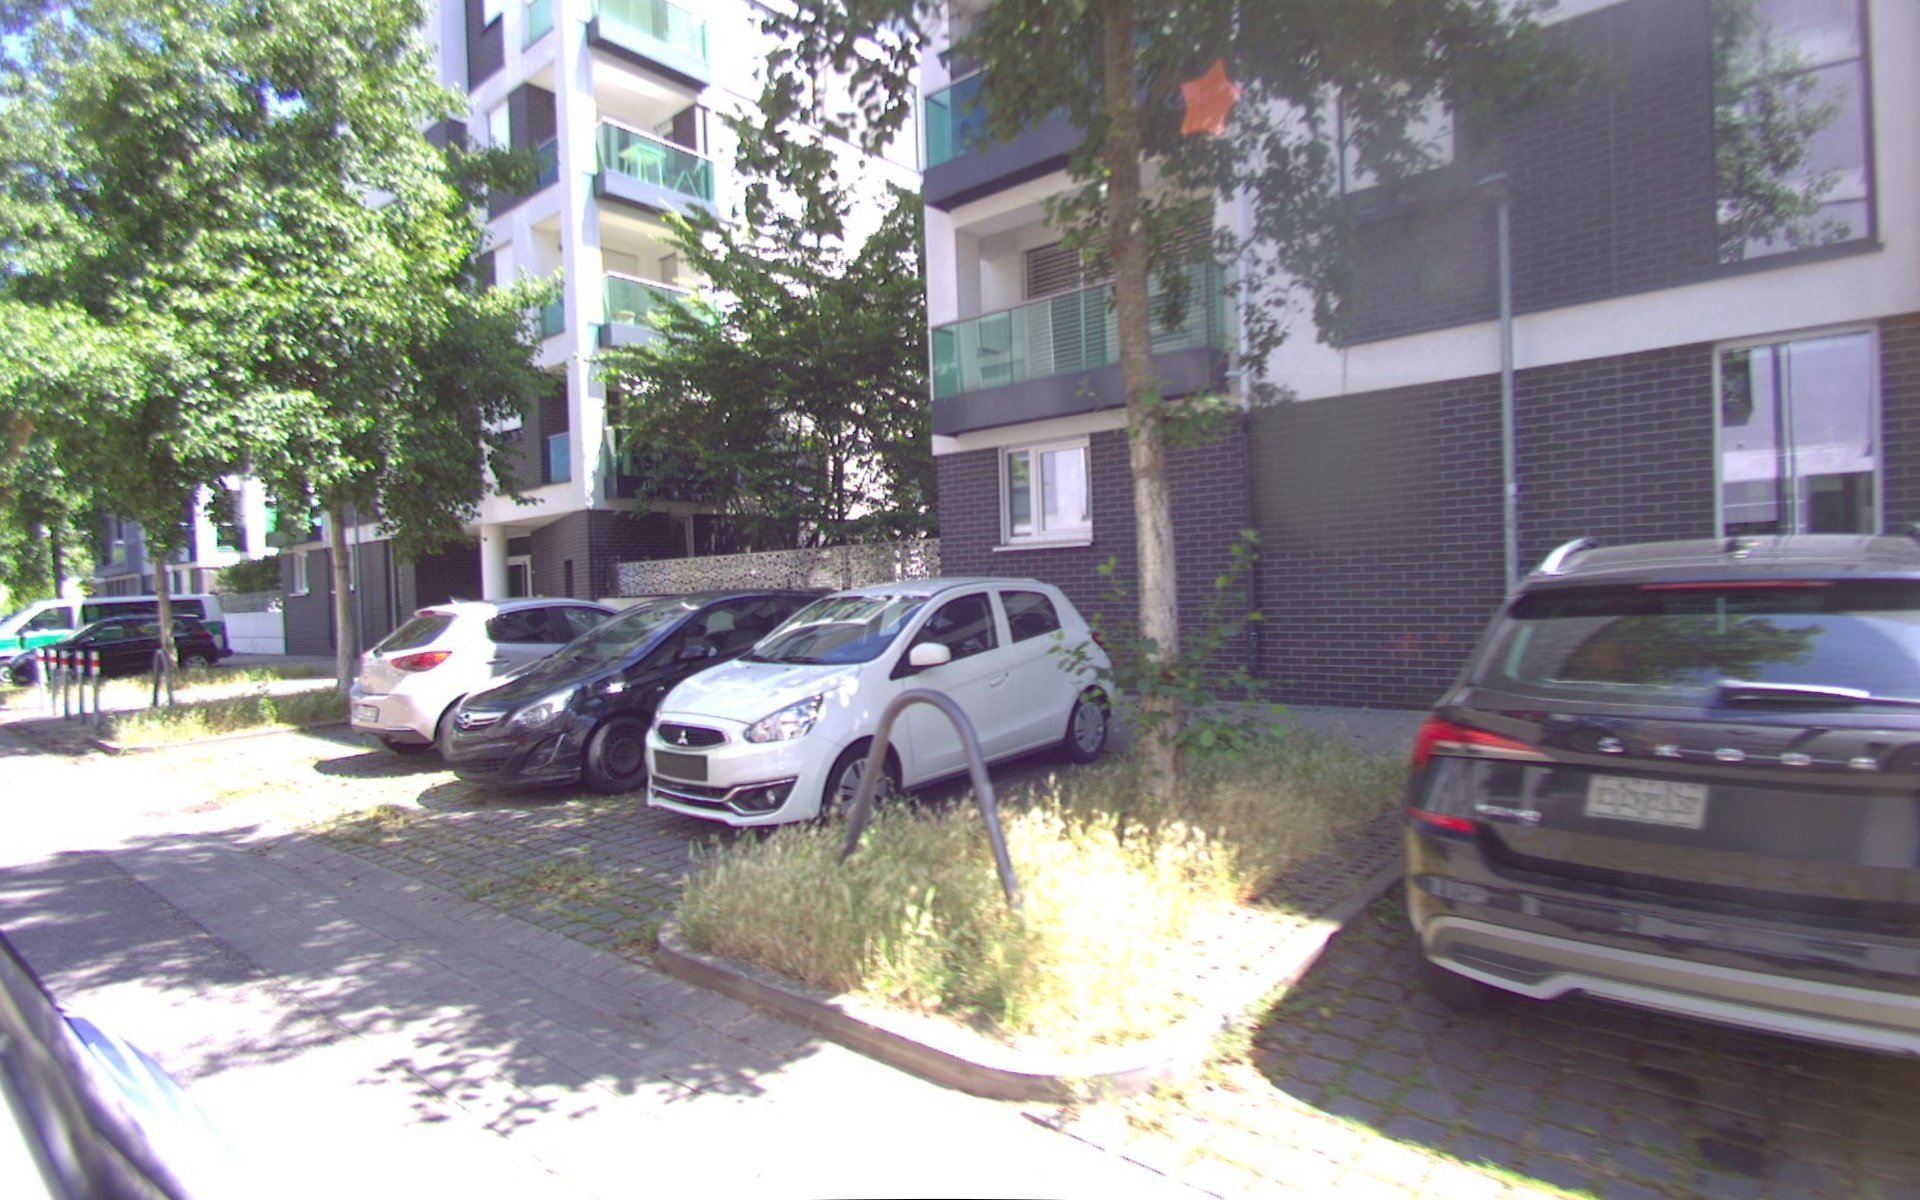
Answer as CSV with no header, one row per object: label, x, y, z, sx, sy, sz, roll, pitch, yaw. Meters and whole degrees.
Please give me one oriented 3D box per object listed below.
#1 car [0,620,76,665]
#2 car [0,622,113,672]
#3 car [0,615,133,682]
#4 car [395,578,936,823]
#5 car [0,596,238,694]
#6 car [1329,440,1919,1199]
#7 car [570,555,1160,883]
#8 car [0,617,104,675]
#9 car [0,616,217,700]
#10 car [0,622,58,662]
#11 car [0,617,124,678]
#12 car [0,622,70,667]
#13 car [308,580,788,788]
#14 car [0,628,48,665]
car,-38.072,1.732,39.551,2.039,1.644,4.981,-2,0,38
car,-32.360,1.647,34.698,1.828,1.467,4.801,-2,2,40
car,-26.674,1.398,29.485,1.850,1.688,3.643,-2,2,40
car,-2.321,0.661,8.948,1.791,1.487,4.273,-2,2,40
car,-20.992,1.026,24.549,2.187,2.126,5.285,-2,0,42
car,3.096,0.400,3.798,1.932,1.641,3.947,-2,1,40
car,-0.423,0.561,7.232,1.883,1.603,3.946,-2,1,41
car,-30.639,1.519,32.952,1.949,1.641,3.938,-2,2,42
car,-19.009,1.223,22.563,1.676,1.492,3.588,-2,2,39
car,-39.968,1.831,41.043,1.825,1.460,4.774,-1,3,38
car,-28.826,1.503,31.021,1.962,1.605,4.519,-2,2,35
car,-36.128,1.743,37.639,1.819,1.542,4.212,-2,2,37
car,-4.090,0.692,10.642,1.923,1.529,4.210,-2,2,40
car,-42.048,2.054,42.668,1.925,1.496,5.050,-1,1,38
